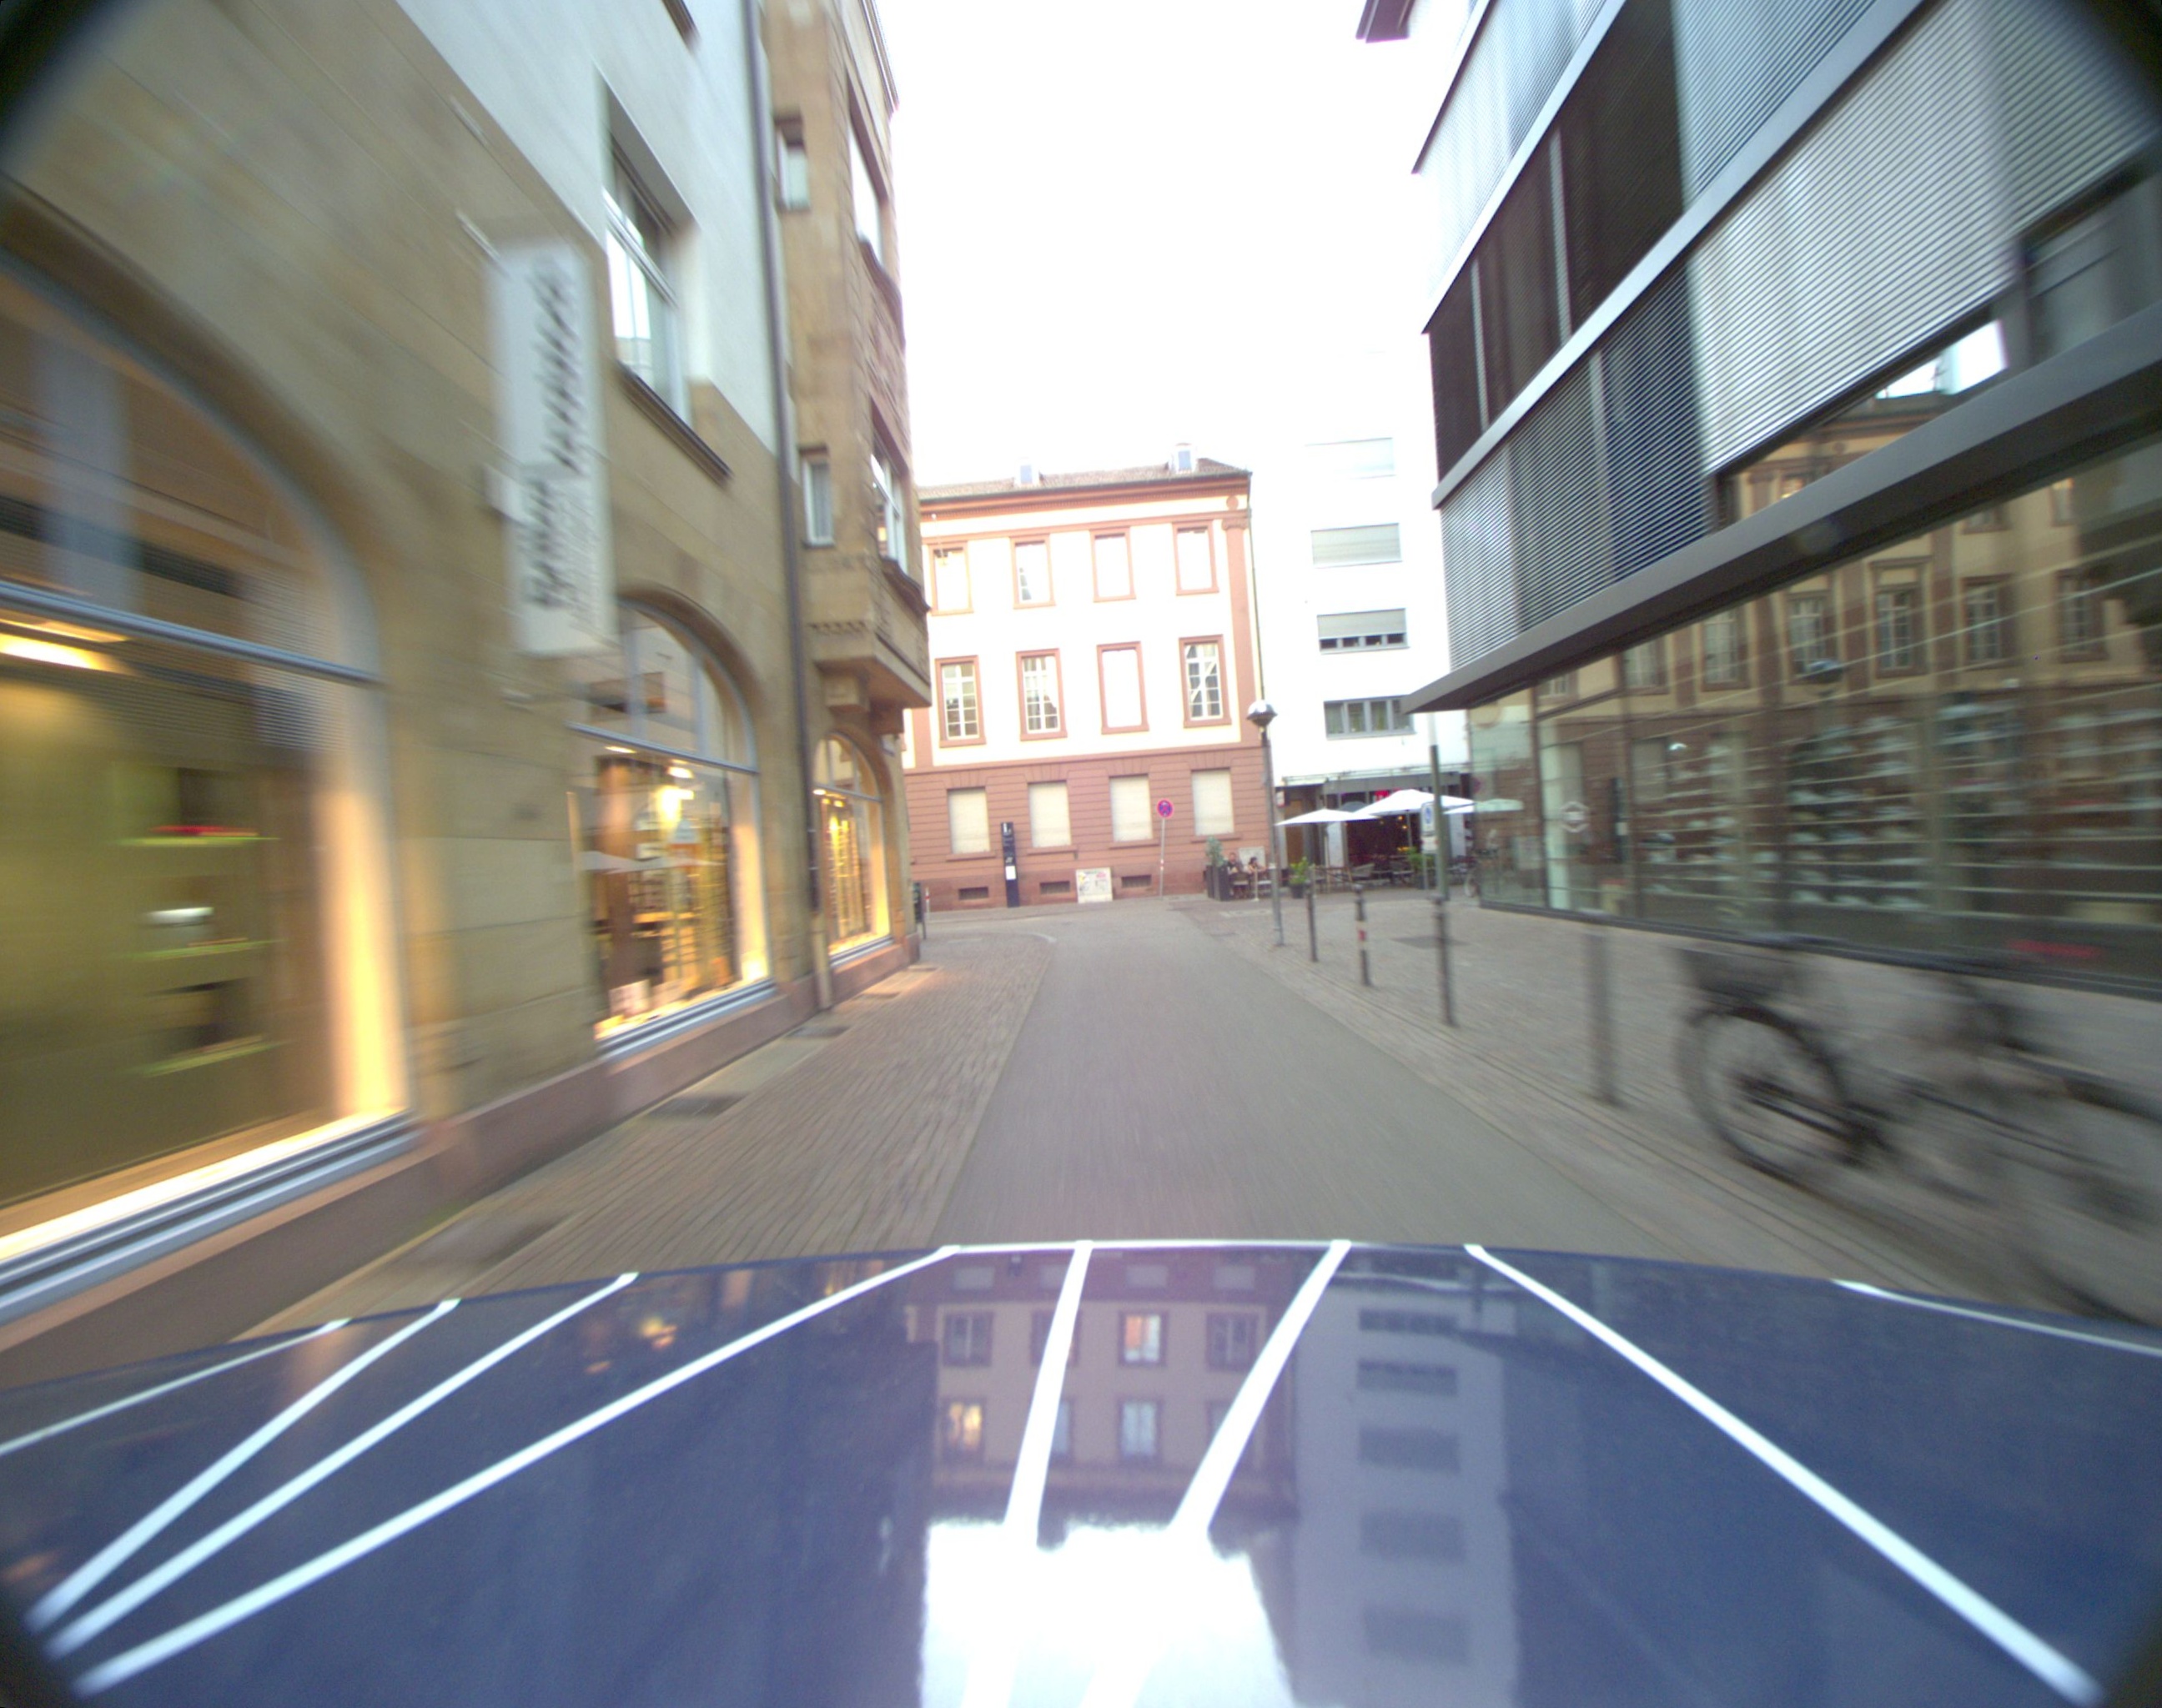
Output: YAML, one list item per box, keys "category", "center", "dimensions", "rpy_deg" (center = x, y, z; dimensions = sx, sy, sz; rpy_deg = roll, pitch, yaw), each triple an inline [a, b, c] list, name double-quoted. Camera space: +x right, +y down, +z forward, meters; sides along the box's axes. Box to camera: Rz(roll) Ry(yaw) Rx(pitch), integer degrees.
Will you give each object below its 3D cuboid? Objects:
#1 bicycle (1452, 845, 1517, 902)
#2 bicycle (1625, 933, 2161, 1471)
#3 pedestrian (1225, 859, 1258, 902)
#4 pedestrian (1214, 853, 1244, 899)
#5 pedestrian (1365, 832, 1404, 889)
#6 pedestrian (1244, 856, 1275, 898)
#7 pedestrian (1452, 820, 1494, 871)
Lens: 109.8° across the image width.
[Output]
- category: "bicycle"
  center: [8.733, 0.430, 16.516]
  dimensions: [0.466, 1.129, 1.703]
  rpy_deg: [-4, -2, 1]
- category: "bicycle"
  center: [2.798, 0.943, 2.566]
  dimensions: [0.411, 1.126, 1.930]
  rpy_deg: [-4, 0, -2]
- category: "pedestrian"
  center: [4.644, 0.757, 21.997]
  dimensions: [0.673, 1.177, 0.792]
  rpy_deg: [-4, 2, -4]
- category: "pedestrian"
  center: [4.504, 0.663, 23.157]
  dimensions: [0.673, 1.323, 0.792]
  rpy_deg: [-4, 2, 0]
- category: "pedestrian"
  center: [9.266, 0.201, 23.201]
  dimensions: [0.725, 1.639, 0.792]
  rpy_deg: [-4, 0, -4]
- category: "pedestrian"
  center: [5.406, 0.686, 23.019]
  dimensions: [0.673, 1.177, 0.792]
  rpy_deg: [-4, 2, 0]
- category: "pedestrian"
  center: [13.335, -0.281, 25.836]
  dimensions: [0.800, 1.649, 0.858]
  rpy_deg: [-4, 0, -15]
